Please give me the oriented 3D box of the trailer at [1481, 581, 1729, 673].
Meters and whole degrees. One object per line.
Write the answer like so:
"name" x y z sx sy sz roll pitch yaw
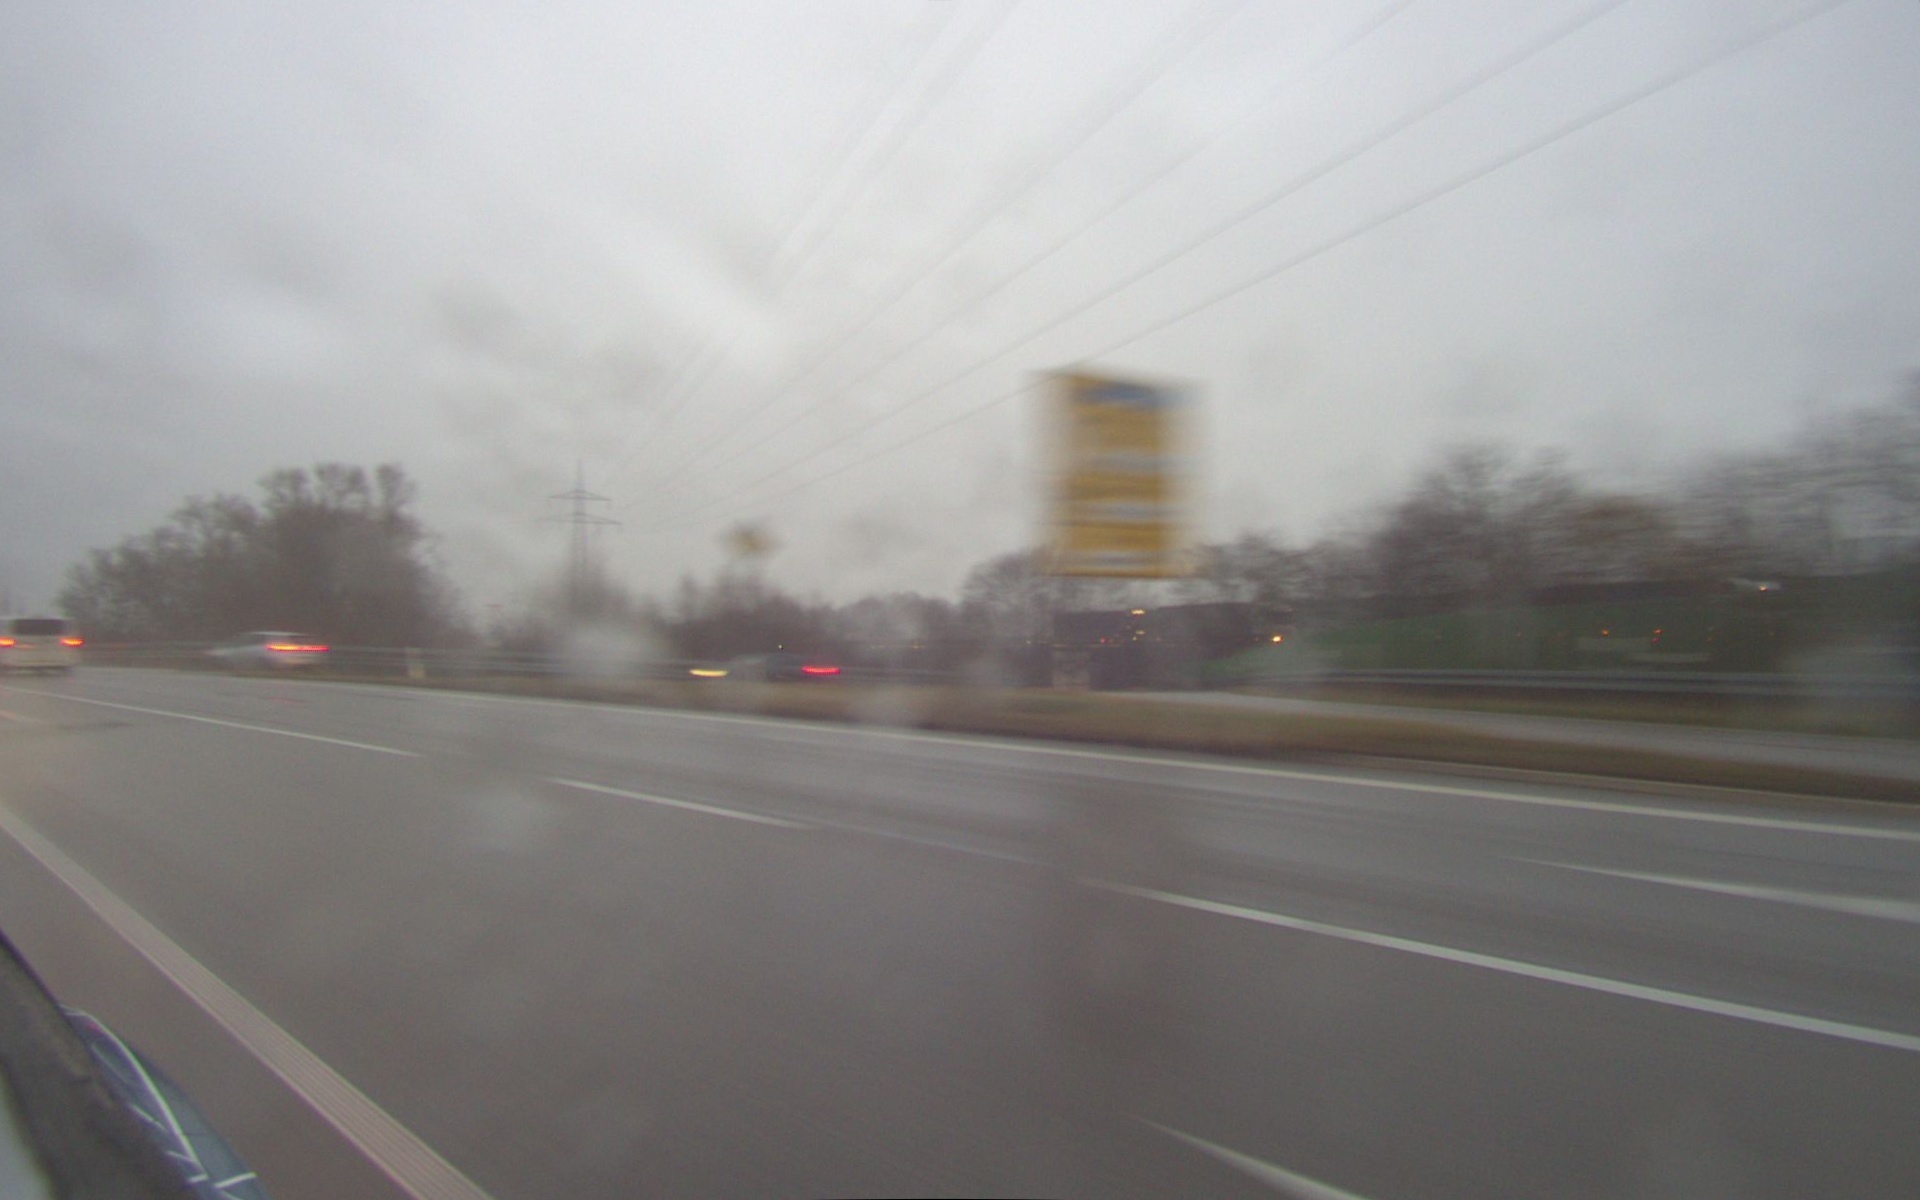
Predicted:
"trailer" 39.483 1.508 62.990 3.255 5.142 13.273 0 0 -26

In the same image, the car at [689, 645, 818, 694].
"car" -7.542 2.540 36.990 4.212 1.689 2.006 2 -5 -29

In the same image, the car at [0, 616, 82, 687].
"car" -30.447 1.660 32.919 5.173 2.154 1.853 -2 -4 39

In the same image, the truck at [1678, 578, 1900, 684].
"truck" 43.871 1.528 53.958 3.229 5.168 8.547 0 0 -26

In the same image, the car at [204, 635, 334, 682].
"car" -25.735 2.200 37.737 3.822 1.645 1.911 -2 -5 14

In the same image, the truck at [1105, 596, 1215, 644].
"truck" 20.185 1.917 103.683 3.229 4.645 13.920 0 0 -27
